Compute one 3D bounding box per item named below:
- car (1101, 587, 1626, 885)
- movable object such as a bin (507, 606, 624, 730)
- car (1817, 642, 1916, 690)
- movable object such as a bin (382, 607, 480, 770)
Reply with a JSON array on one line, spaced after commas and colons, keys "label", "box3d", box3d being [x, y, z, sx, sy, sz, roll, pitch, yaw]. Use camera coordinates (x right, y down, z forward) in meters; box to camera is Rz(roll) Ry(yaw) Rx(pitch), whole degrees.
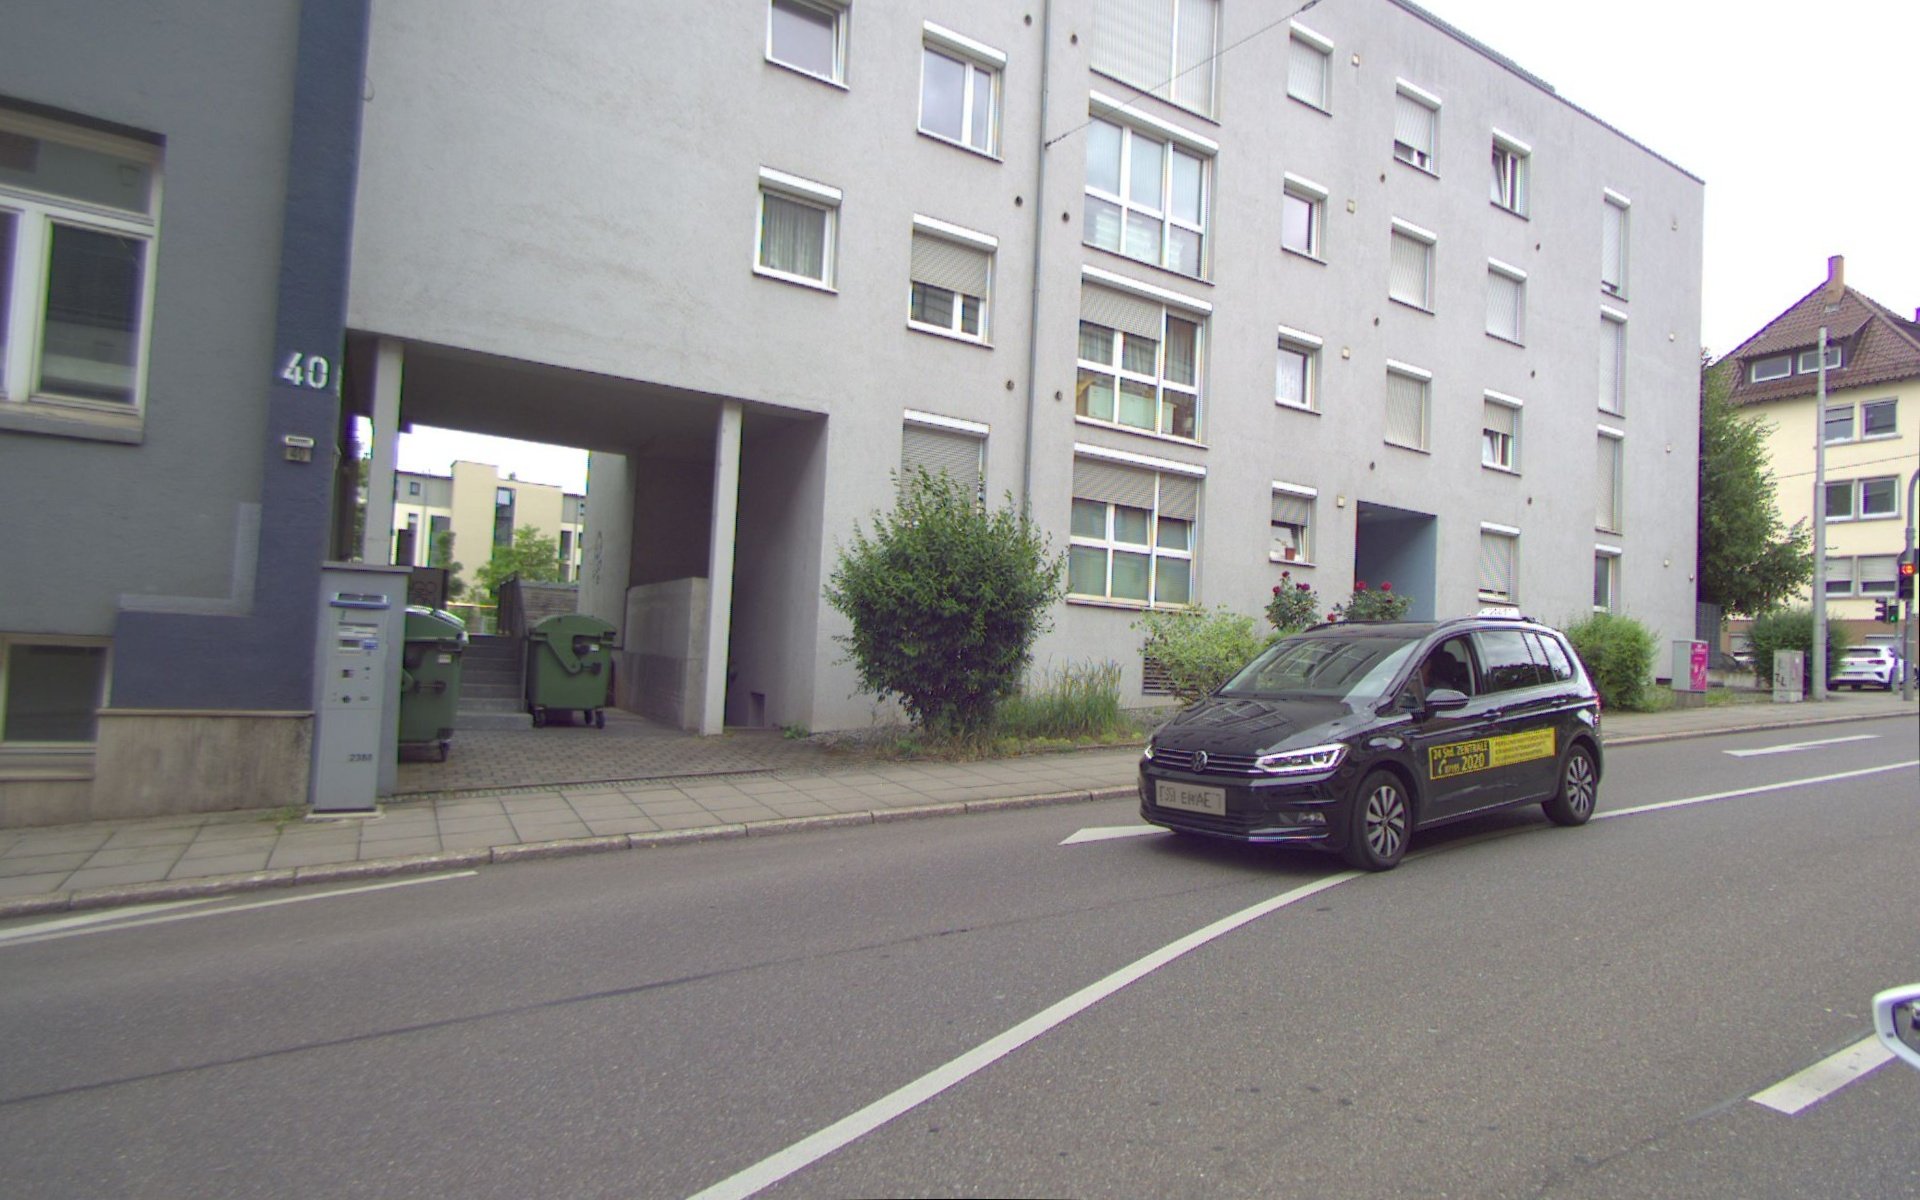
[{"label": "car", "box3d": [3.279, 0.899, 7.845, 4.265, 1.729, 1.772, 2, -4, -36]}, {"label": "movable object such as a bin", "box3d": [-5.230, 0.891, 13.281, 1.177, 1.497, 1.139, 6, -4, -29]}, {"label": "car", "box3d": [31.675, 2.273, 35.096, 3.727, 1.575, 1.681, 1, -4, -34]}, {"label": "movable object such as a bin", "box3d": [-5.262, 0.837, 10.042, 0.774, 1.475, 1.260, 2, 1, -26]}]
